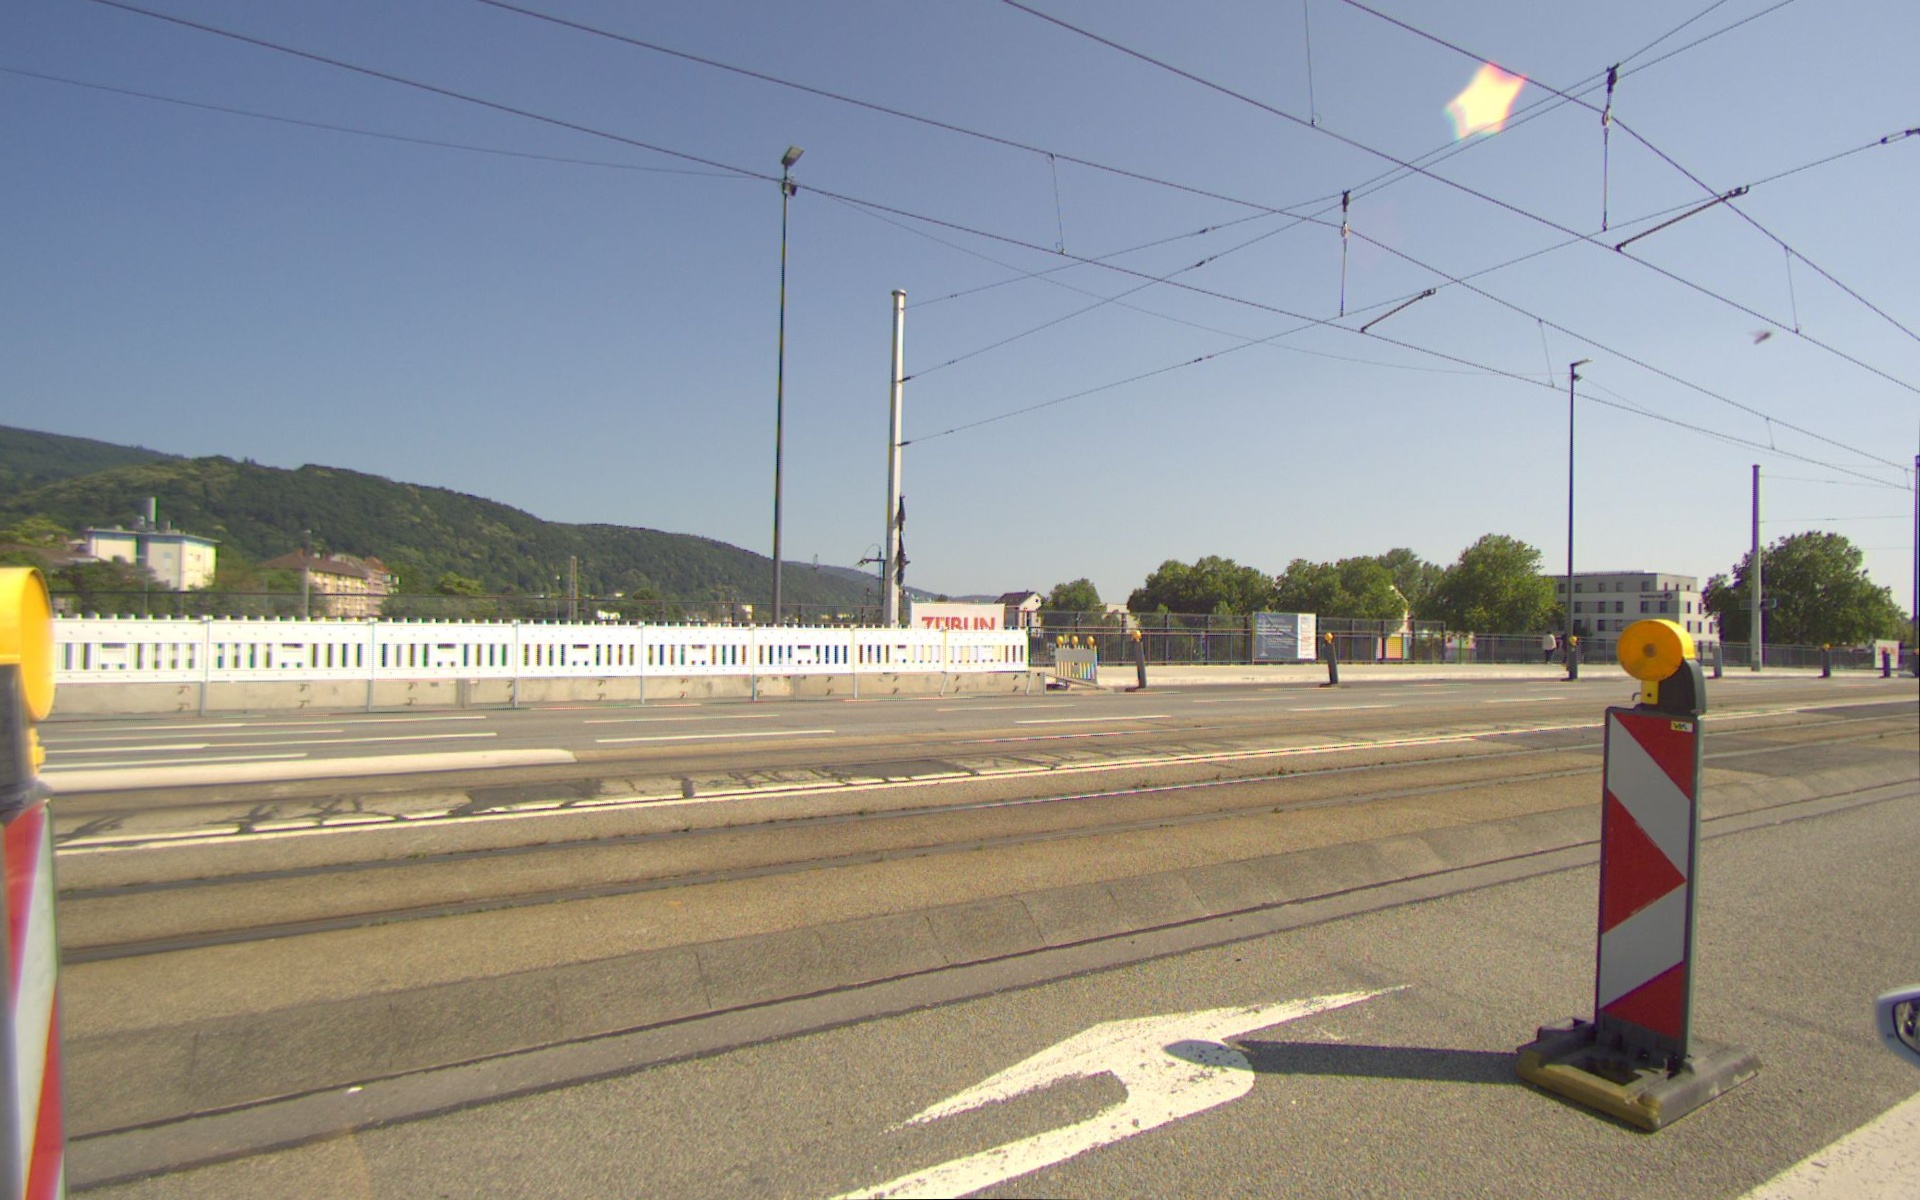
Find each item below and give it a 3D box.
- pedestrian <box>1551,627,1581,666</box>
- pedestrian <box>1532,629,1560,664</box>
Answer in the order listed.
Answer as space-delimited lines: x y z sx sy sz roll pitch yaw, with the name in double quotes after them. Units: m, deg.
27.333 2.098 45.304 0.884 1.663 0.740 2 1 -30 "pedestrian"
26.862 2.125 46.081 0.878 1.565 0.716 2 1 -30 "pedestrian"
